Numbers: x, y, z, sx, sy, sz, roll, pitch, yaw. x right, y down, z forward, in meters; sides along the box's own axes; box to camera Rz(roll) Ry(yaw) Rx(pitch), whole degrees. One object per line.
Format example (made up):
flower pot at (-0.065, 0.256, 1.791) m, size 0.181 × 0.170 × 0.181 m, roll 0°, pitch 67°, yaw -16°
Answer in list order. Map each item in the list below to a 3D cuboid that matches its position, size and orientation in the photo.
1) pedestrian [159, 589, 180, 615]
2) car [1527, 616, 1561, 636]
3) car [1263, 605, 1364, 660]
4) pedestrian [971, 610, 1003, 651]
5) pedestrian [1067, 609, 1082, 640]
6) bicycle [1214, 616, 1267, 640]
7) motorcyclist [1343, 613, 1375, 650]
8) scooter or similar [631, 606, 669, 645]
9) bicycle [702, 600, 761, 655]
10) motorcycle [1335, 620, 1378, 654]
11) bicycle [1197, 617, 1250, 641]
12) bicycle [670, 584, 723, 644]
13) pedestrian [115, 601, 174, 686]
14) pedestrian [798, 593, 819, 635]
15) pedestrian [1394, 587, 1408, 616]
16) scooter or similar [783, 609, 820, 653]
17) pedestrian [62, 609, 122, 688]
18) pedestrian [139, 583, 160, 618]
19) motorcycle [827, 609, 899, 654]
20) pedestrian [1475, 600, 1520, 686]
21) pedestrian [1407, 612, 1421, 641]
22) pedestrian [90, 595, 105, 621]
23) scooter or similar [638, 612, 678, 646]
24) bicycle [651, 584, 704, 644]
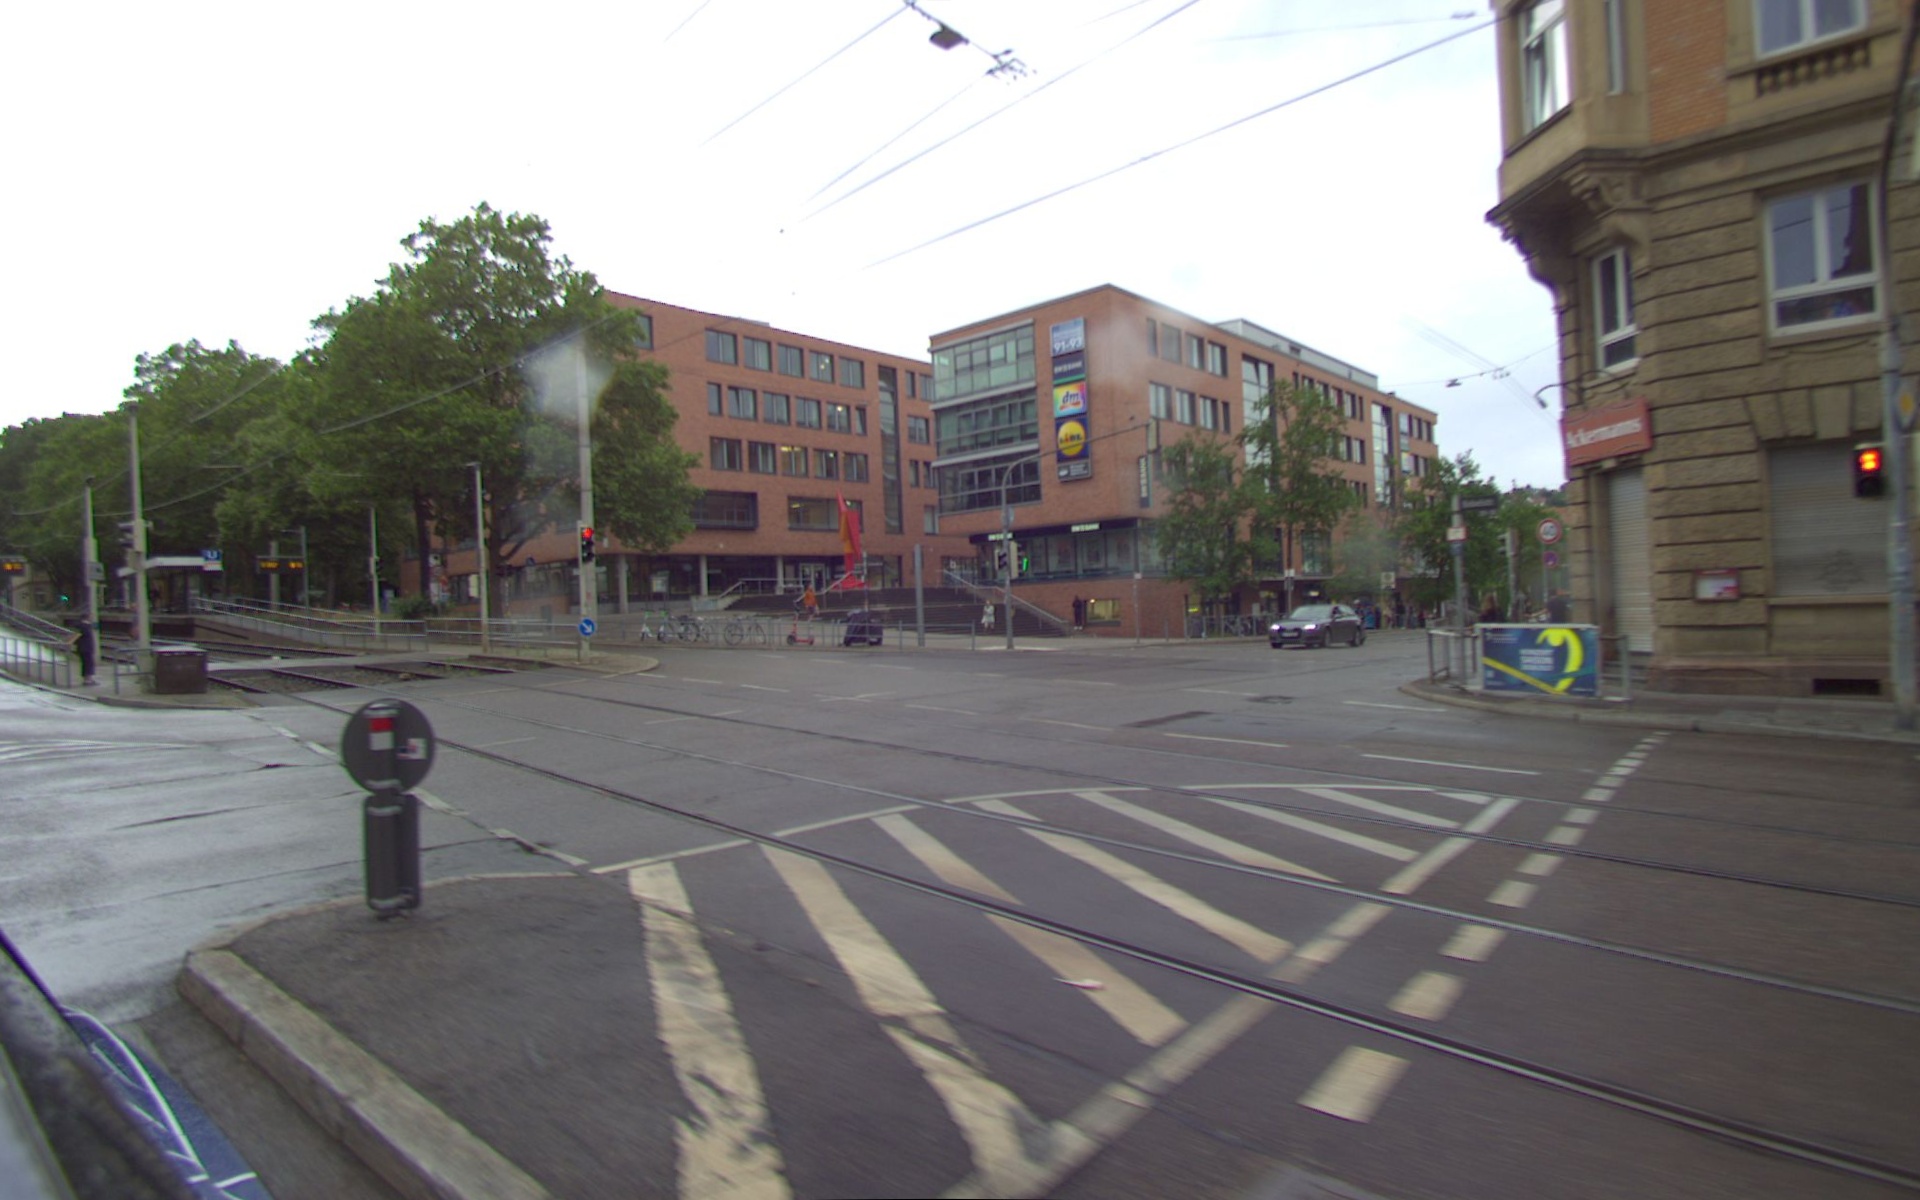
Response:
pedestrian at (-45.186, 0.107, 57.856) m, size 0.883 × 1.494 × 0.772 m, roll 0°, pitch 0°, yaw 37°
car at (49.722, 2.199, 86.087) m, size 1.817 × 1.601 × 3.946 m, roll -1°, pitch -1°, yaw 40°
car at (11.528, 1.027, 32.863) m, size 1.840 × 1.678 × 3.946 m, roll -1°, pitch -1°, yaw 40°
pedestrian at (1.153, 1.286, 43.135) m, size 1.008 × 1.743 × 0.887 m, roll 0°, pitch 0°, yaw 41°
pedestrian at (5.930, 1.274, 52.545) m, size 0.591 × 1.578 × 0.513 m, roll -1°, pitch 0°, yaw 39°
bicycle at (13.590, 1.322, 49.035) m, size 2.368 × 1.109 × 0.840 m, roll -1°, pitch 0°, yaw 44°
motorcyclist at (14.431, 1.133, 36.640) m, size 0.841 × 1.313 × 0.803 m, roll -1°, pitch 0°, yaw 42°
scooter or similar at (-11.362, 0.909, 37.088) m, size 0.450 × 1.381 × 1.494 m, roll -1°, pitch 0°, yaw 24°
bicycle at (-7.598, 0.891, 33.770) m, size 0.555 × 1.710 × 2.073 m, roll 1°, pitch 3°, yaw 34°
motorcycle at (14.284, 1.312, 36.460) m, size 0.866 × 1.168 × 1.826 m, roll -1°, pitch 0°, yaw 42°
bicycle at (12.614, 1.374, 48.434) m, size 2.361 × 1.109 × 0.692 m, roll -1°, pitch 0°, yaw 34°
bicycle at (-9.097, 0.462, 35.031) m, size 0.517 × 2.029 × 1.875 m, roll 0°, pitch 1°, yaw 34°
pedestrian at (-17.879, 0.920, 22.179) m, size 1.000 × 1.812 × 0.817 m, roll 0°, pitch 0°, yaw 39°
pedestrian at (-6.653, 0.591, 44.393) m, size 0.779 × 1.757 × 1.073 m, roll 0°, pitch 4°, yaw -15°
pedestrian at (25.720, 0.092, 59.021) m, size 0.574 × 1.641 × 0.566 m, roll -1°, pitch 0°, yaw 40°
scooter or similar at (-5.215, 0.998, 33.339) m, size 0.450 × 1.381 × 1.494 m, roll -1°, pitch 0°, yaw 24°
pedestrian at (-18.583, 1.013, 21.664) m, size 1.000 × 1.617 × 0.826 m, roll 0°, pitch 0°, yaw 39°
pedestrian at (-48.883, 0.036, 61.041) m, size 0.883 × 2.078 × 0.827 m, roll 0°, pitch 0°, yaw 37°
motorcycle at (-3.146, 1.000, 32.996) m, size 0.864 × 1.381 × 2.628 m, roll 0°, pitch 0°, yaw 34°
pedestrian at (11.523, 0.929, 21.724) m, size 0.635 × 1.781 × 0.623 m, roll -4°, pitch -3°, yaw 19°
pedestrian at (26.359, 1.536, 58.798) m, size 0.599 × 1.641 × 0.566 m, roll -1°, pitch 0°, yaw 40°
pedestrian at (-60.841, 0.575, 71.376) m, size 0.703 × 1.804 × 0.668 m, roll -1°, pitch -1°, yaw 41°
scooter or similar at (-10.893, 1.037, 36.594) m, size 0.475 × 1.203 × 1.707 m, roll 0°, pitch 0°, yaw 20°
bicycle at (-9.925, 0.466, 35.586) m, size 0.517 × 2.029 × 1.875 m, roll 0°, pitch 1°, yaw 34°
